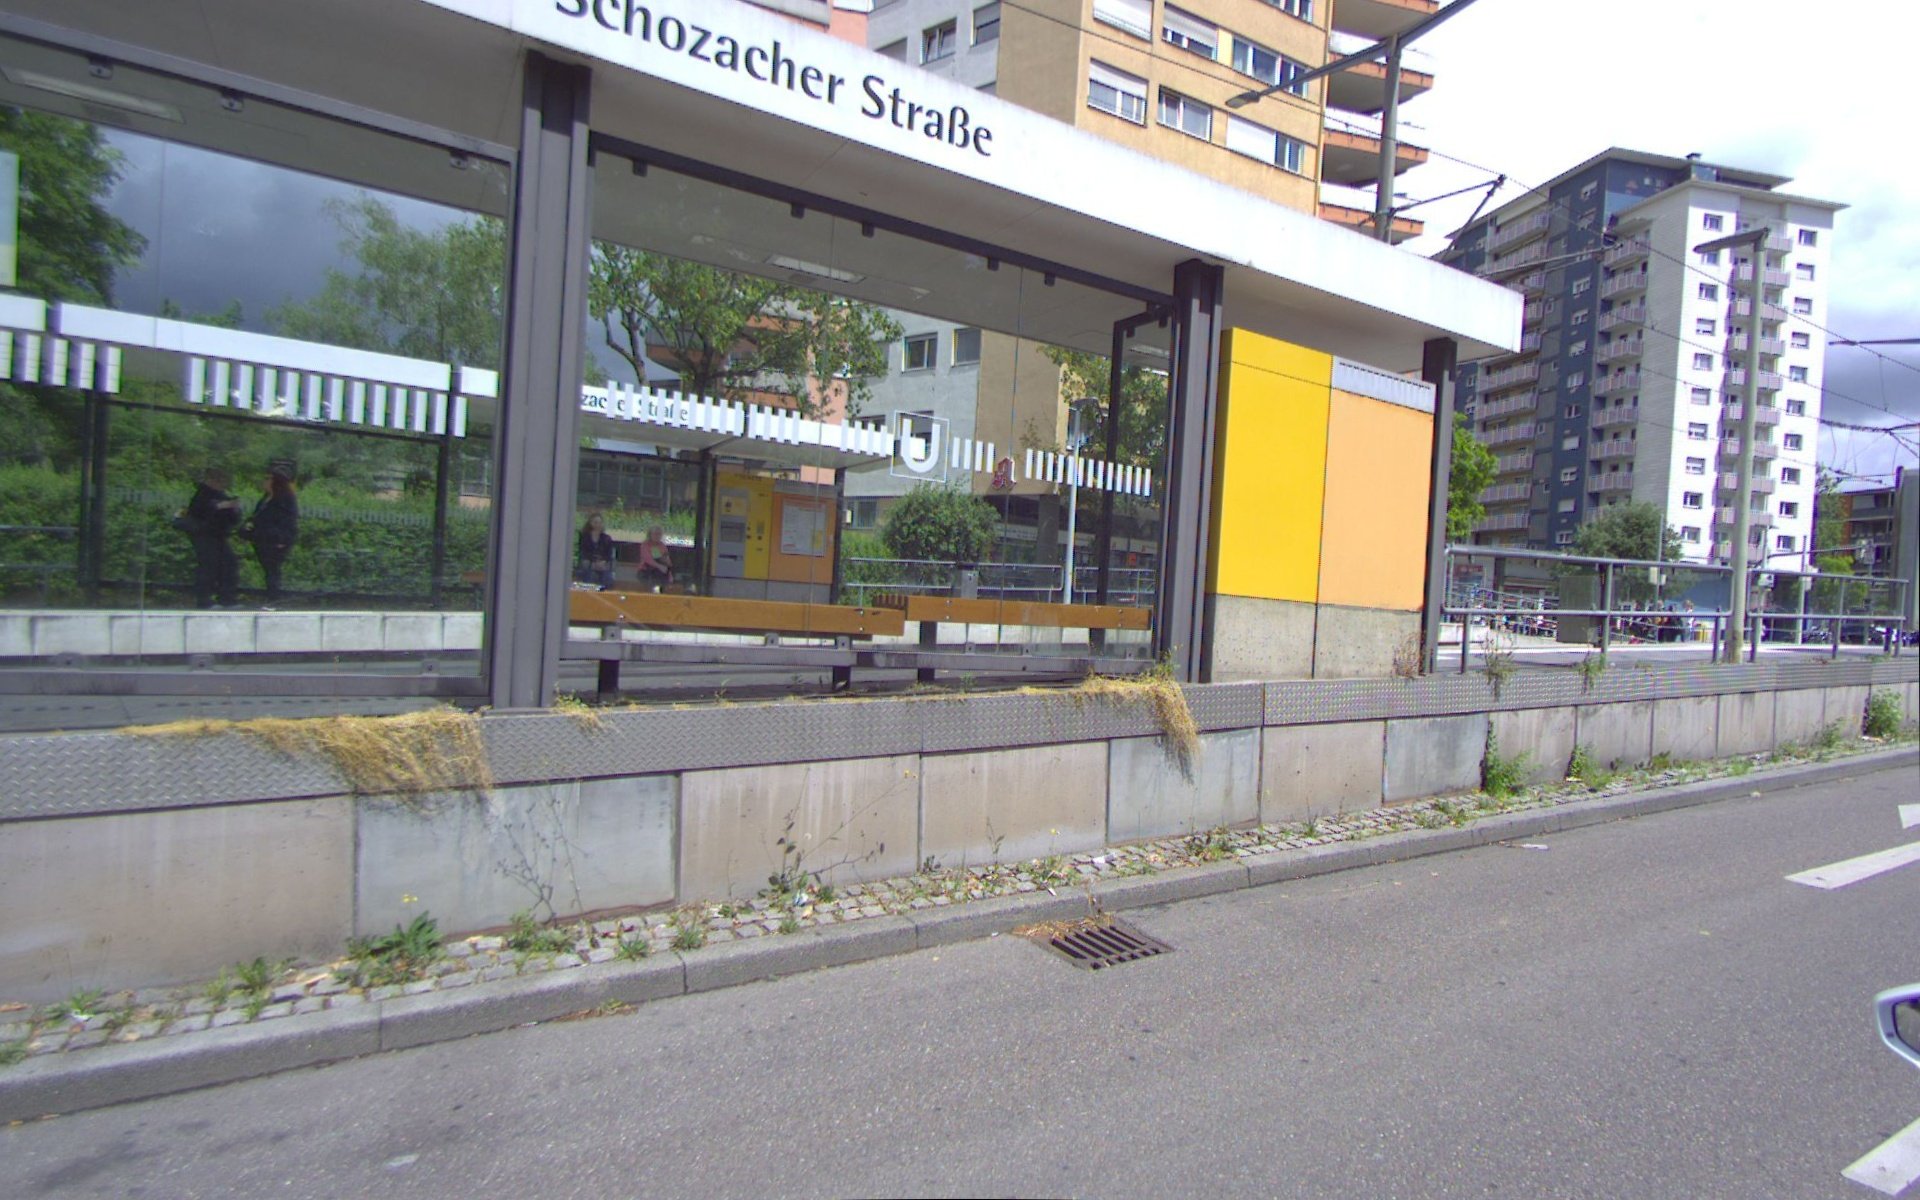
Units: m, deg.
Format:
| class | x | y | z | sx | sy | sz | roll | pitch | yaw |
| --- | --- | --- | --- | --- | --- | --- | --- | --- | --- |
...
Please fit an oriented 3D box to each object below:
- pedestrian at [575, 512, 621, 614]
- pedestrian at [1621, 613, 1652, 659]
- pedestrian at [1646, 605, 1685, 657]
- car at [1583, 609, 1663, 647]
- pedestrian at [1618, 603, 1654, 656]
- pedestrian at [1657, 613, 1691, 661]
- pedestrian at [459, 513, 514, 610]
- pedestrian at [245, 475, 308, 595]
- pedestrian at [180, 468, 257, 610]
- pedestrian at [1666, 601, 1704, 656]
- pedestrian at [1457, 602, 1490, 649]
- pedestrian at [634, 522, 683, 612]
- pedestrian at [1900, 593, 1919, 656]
| class | x | y | z | sx | sy | sz | roll | pitch | yaw |
| --- | --- | --- | --- | --- | --- | --- | --- | --- | --- |
| pedestrian | -5.104 | -0.511 | 14.144 | 0.501 | 1.387 | 0.640 | 1 | 0 | -30 |
| pedestrian | 20.392 | 1.071 | 30.290 | 0.543 | 1.360 | 0.669 | 1 | 0 | 12 |
| pedestrian | 22.252 | 0.965 | 31.678 | 0.618 | 1.599 | 0.851 | 1 | 0 | -38 |
| car | 37.480 | 1.540 | 56.827 | 3.663 | 2.040 | 1.806 | 0 | -1 | 37 |
| pedestrian | 20.897 | 0.910 | 31.065 | 0.764 | 1.604 | 0.605 | 1 | 0 | -27 |
| pedestrian | 20.910 | 1.080 | 29.432 | 0.677 | 1.360 | 0.859 | 1 | 0 | 29 |
| pedestrian | -6.334 | -0.500 | 13.436 | 0.539 | 1.253 | 0.515 | 1 | 0 | -42 |
| pedestrian | -8.360 | -0.772 | 12.285 | 0.517 | 1.397 | 0.537 | 4 | -2 | -39 |
| pedestrian | -8.954 | -0.717 | 12.134 | 0.512 | 1.666 | 0.564 | 1 | 0 | 28 |
| pedestrian | 23.157 | 0.910 | 32.086 | 0.818 | 1.729 | 0.676 | 1 | 0 | -32 |
| pedestrian | 19.128 | 0.939 | 37.421 | 0.677 | 1.719 | 0.859 | 1 | 0 | -9 |
| pedestrian | -4.360 | -0.460 | 14.489 | 0.511 | 1.253 | 0.739 | 1 | 0 | -30 |
| pedestrian | 25.620 | 0.651 | 26.756 | 0.630 | 1.654 | 0.697 | 1 | -1 | -30 |
